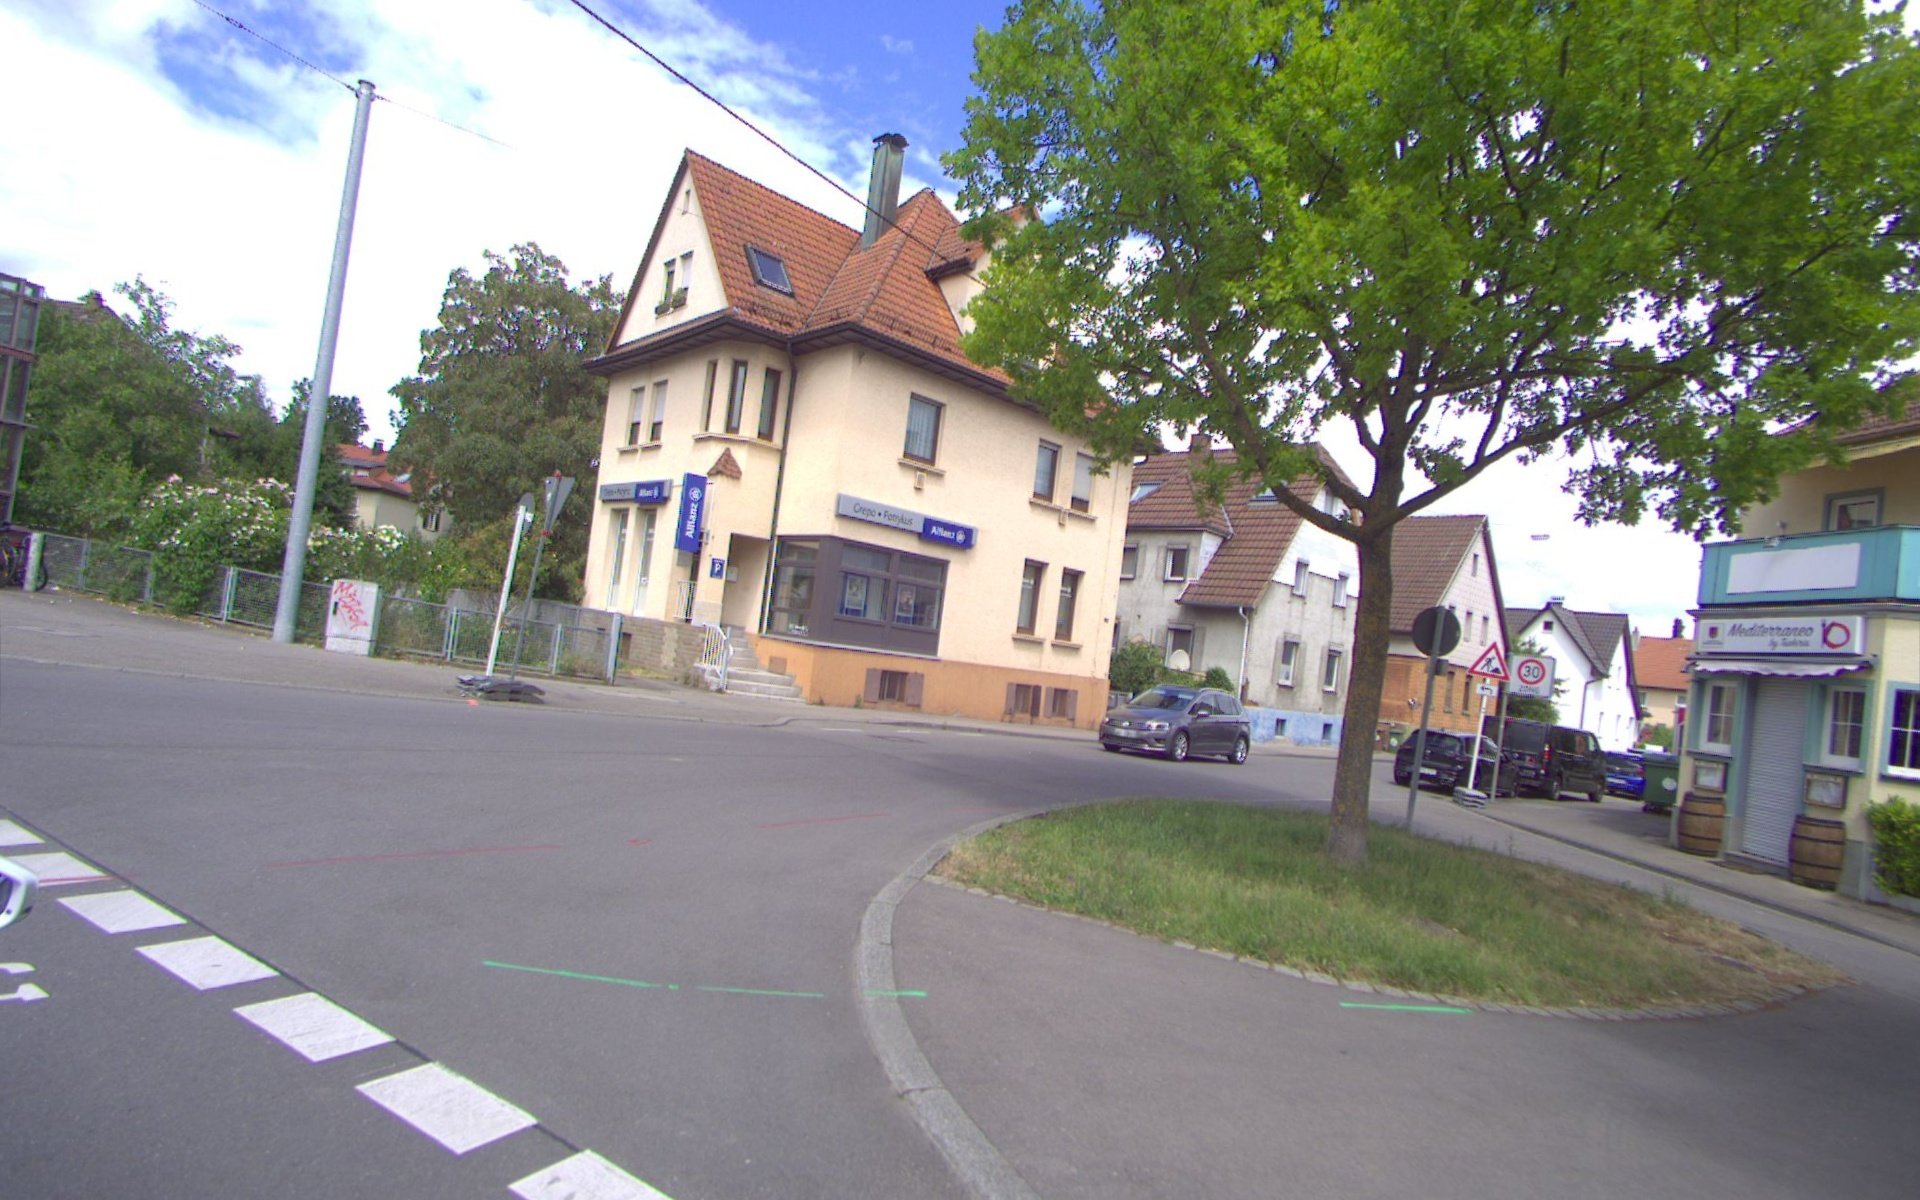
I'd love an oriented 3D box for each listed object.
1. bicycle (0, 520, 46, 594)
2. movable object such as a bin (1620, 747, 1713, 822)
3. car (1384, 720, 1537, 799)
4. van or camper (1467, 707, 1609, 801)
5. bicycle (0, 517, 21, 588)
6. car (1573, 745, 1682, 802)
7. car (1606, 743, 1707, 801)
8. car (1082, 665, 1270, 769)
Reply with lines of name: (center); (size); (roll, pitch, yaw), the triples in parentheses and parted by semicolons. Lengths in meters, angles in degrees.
bicycle: (-14.573, -0.678, 15.531); (1.169, 1.021, 0.216); (7, 0, 28)
movable object such as a bin: (17.064, 4.454, 24.299); (1.297, 1.508, 1.399); (9, -2, -38)
car: (11.864, 3.797, 23.769); (3.974, 1.393, 1.695); (10, -2, -40)
van or camper: (15.512, 4.153, 26.919); (4.064, 2.021, 1.832); (10, -2, -40)
bicycle: (-14.708, -0.762, 15.270); (1.169, 1.021, 0.216); (7, 0, 28)
car: (22.161, 5.757, 33.350); (3.854, 1.376, 1.977); (11, -2, -41)
car: (24.993, 6.169, 36.058); (3.854, 1.571, 1.977); (11, -2, -41)
car: (4.656, 2.519, 21.357); (3.981, 1.643, 1.846); (12, -3, -44)
